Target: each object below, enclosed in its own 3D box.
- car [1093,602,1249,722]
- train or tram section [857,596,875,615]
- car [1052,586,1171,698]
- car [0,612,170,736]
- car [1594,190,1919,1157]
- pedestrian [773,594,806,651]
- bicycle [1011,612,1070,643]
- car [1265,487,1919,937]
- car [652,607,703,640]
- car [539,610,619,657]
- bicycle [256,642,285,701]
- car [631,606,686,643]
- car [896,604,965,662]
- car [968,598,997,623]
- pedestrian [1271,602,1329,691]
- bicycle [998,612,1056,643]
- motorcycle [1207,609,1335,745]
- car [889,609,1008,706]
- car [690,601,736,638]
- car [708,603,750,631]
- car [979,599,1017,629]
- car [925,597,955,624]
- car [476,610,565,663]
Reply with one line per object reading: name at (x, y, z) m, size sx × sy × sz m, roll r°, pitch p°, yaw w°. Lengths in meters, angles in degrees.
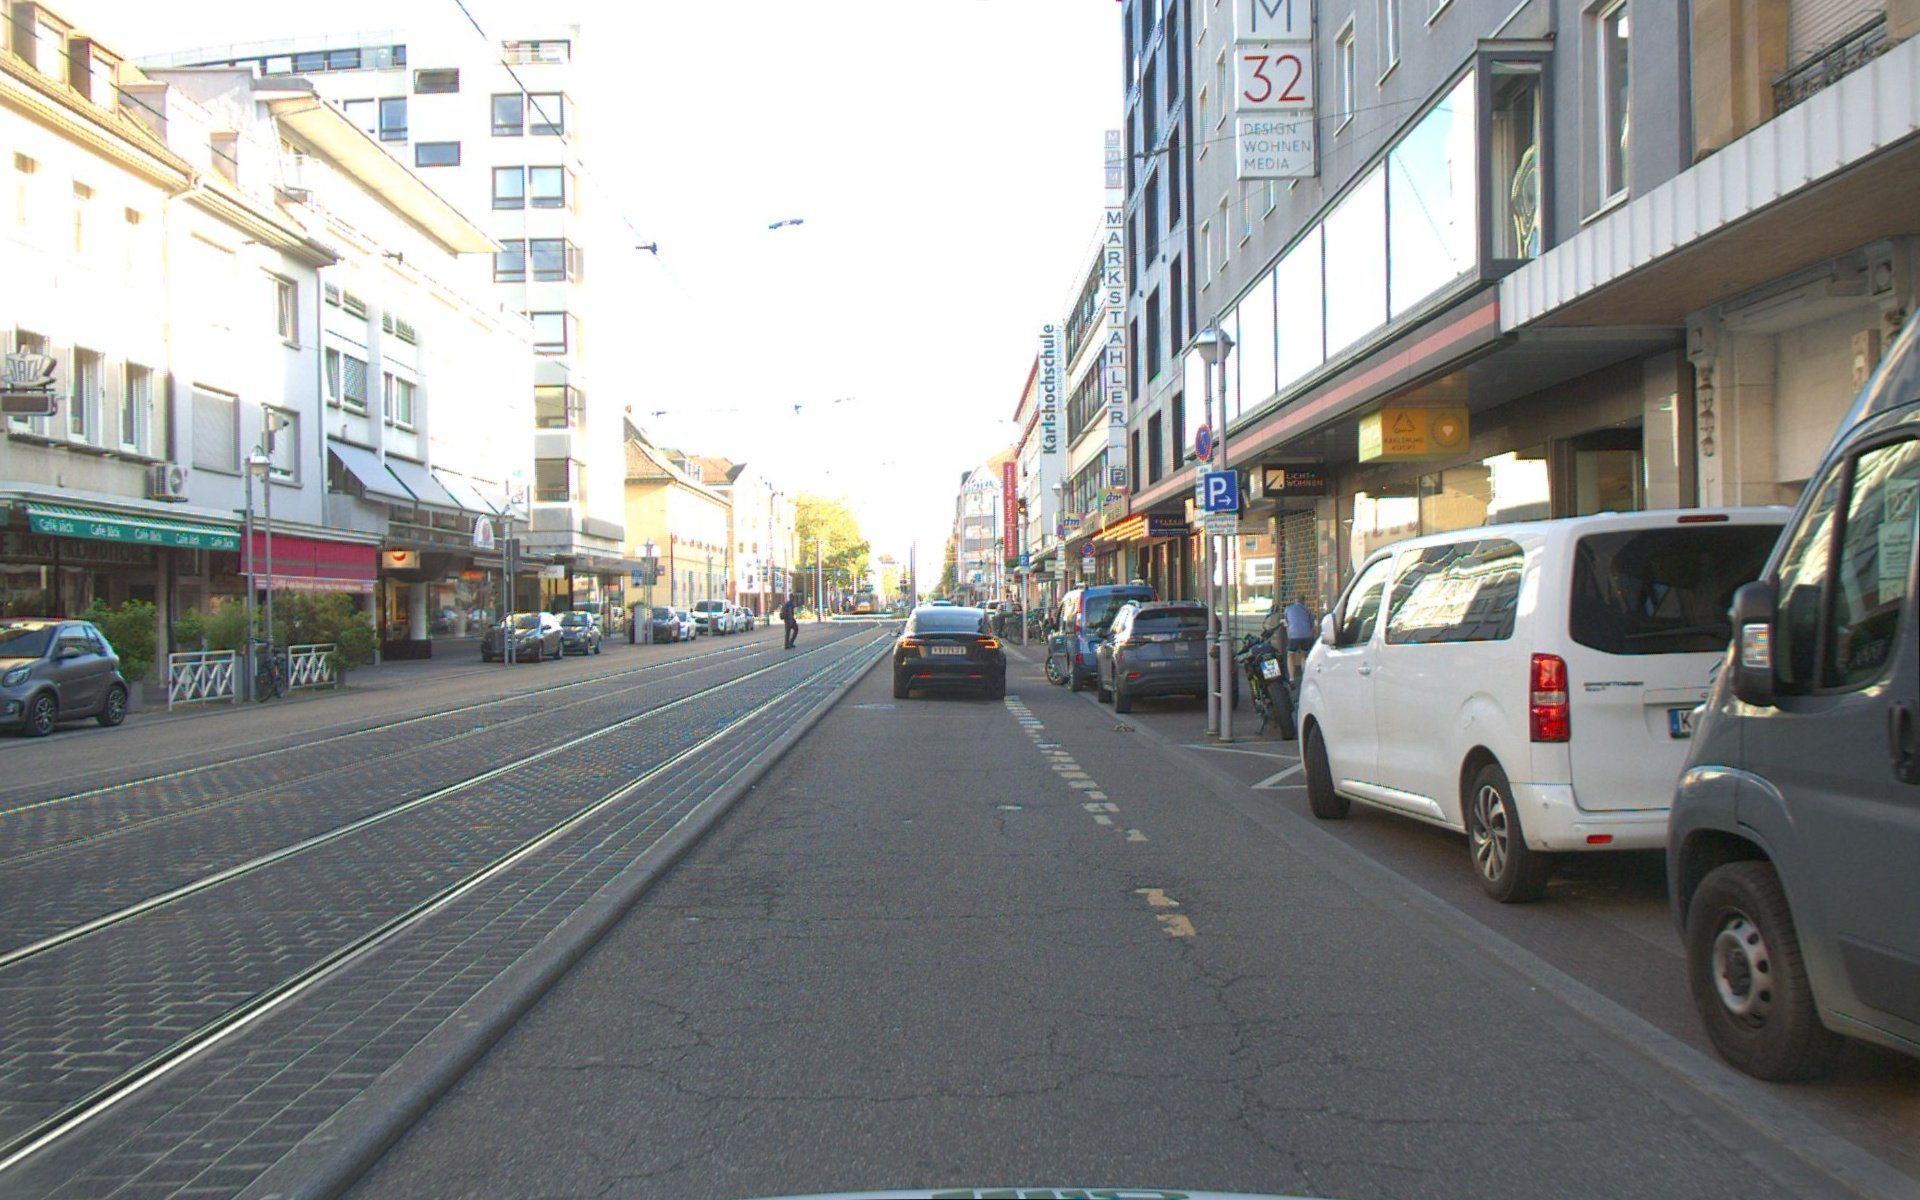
car at (2.955, 0.827, 23.844) m, size 1.716 × 1.525 × 3.753 m, roll -1°, pitch 0°, yaw 0°
train or tram section at (-13.378, 0.776, 235.603) m, size 1.952 × 2.680 × 6.803 m, roll 0°, pitch 0°, yaw 2°
car at (2.673, 0.710, 29.977) m, size 1.784 × 1.903 × 3.753 m, roll 0°, pitch 0°, yaw 0°
car at (-12.974, 0.978, 23.482) m, size 1.641 × 1.573 × 3.744 m, roll 1°, pitch 0°, yaw 1°
car at (3.559, 0.167, 3.552) m, size 2.127 × 2.504 × 5.360 m, roll -2°, pitch 0°, yaw -2°
pedestrian at (-5.703, 0.760, 55.471) m, size 0.756 × 1.881 × 0.827 m, roll -1°, pitch 0°, yaw 27°
bicycle at (2.981, 1.019, 61.169) m, size 2.116 × 1.116 × 0.686 m, roll -1°, pitch 0°, yaw -3°
car at (3.523, 0.507, 10.038) m, size 2.116 × 1.960 × 4.614 m, roll -4°, pitch 0°, yaw -4°
car at (-13.780, 1.144, 80.924) m, size 1.733 × 1.535 × 3.972 m, roll -1°, pitch 0°, yaw 1°
car at (-13.261, 1.151, 57.751) m, size 1.733 × 1.535 × 3.862 m, roll -1°, pitch 0°, yaw 3°
bicycle at (-12.669, 1.304, 30.402) m, size 0.363 × 1.020 × 1.596 m, roll -1°, pitch 0°, yaw -19°
car at (-13.630, 1.083, 74.978) m, size 1.682 × 1.599 × 3.850 m, roll -1°, pitch 0°, yaw 1°
car at (-0.813, 0.876, 43.928) m, size 1.726 × 1.443 × 4.352 m, roll -1°, pitch -1°, yaw -2°
car at (1.618, 0.794, 119.350) m, size 1.953 × 1.784 × 3.999 m, roll 0°, pitch -1°, yaw -1°
pedestrian at (5.617, 0.753, 27.368) m, size 0.720 × 1.427 × 0.983 m, roll -1°, pitch 0°, yaw -1°
bicycle at (2.500, 1.044, 62.045) m, size 2.116 × 1.116 × 0.686 m, roll -1°, pitch 0°, yaw -3°
motorcycle at (3.411, 0.814, 18.407) m, size 0.797 × 1.338 × 2.632 m, roll -4°, pitch -1°, yaw -1°
car at (-0.195, 0.902, 27.749) m, size 1.831 × 1.452 × 4.364 m, roll 0°, pitch 0°, yaw 0°
car at (-14.051, 1.095, 94.299) m, size 1.968 × 1.995 × 4.723 m, roll -1°, pitch 0°, yaw -1°
car at (-14.108, 1.024, 101.167) m, size 1.947 × 1.641 × 4.273 m, roll -1°, pitch 0°, yaw 0°
car at (2.053, 0.775, 90.859) m, size 1.953 × 1.570 × 3.999 m, roll 0°, pitch -1°, yaw -1°
car at (-1.408, 0.712, 116.015) m, size 2.042 × 1.903 × 3.753 m, roll 0°, pitch 0°, yaw 0°
car at (-13.660, 1.112, 51.611) m, size 1.733 × 1.535 × 3.864 m, roll -1°, pitch 0°, yaw 0°
